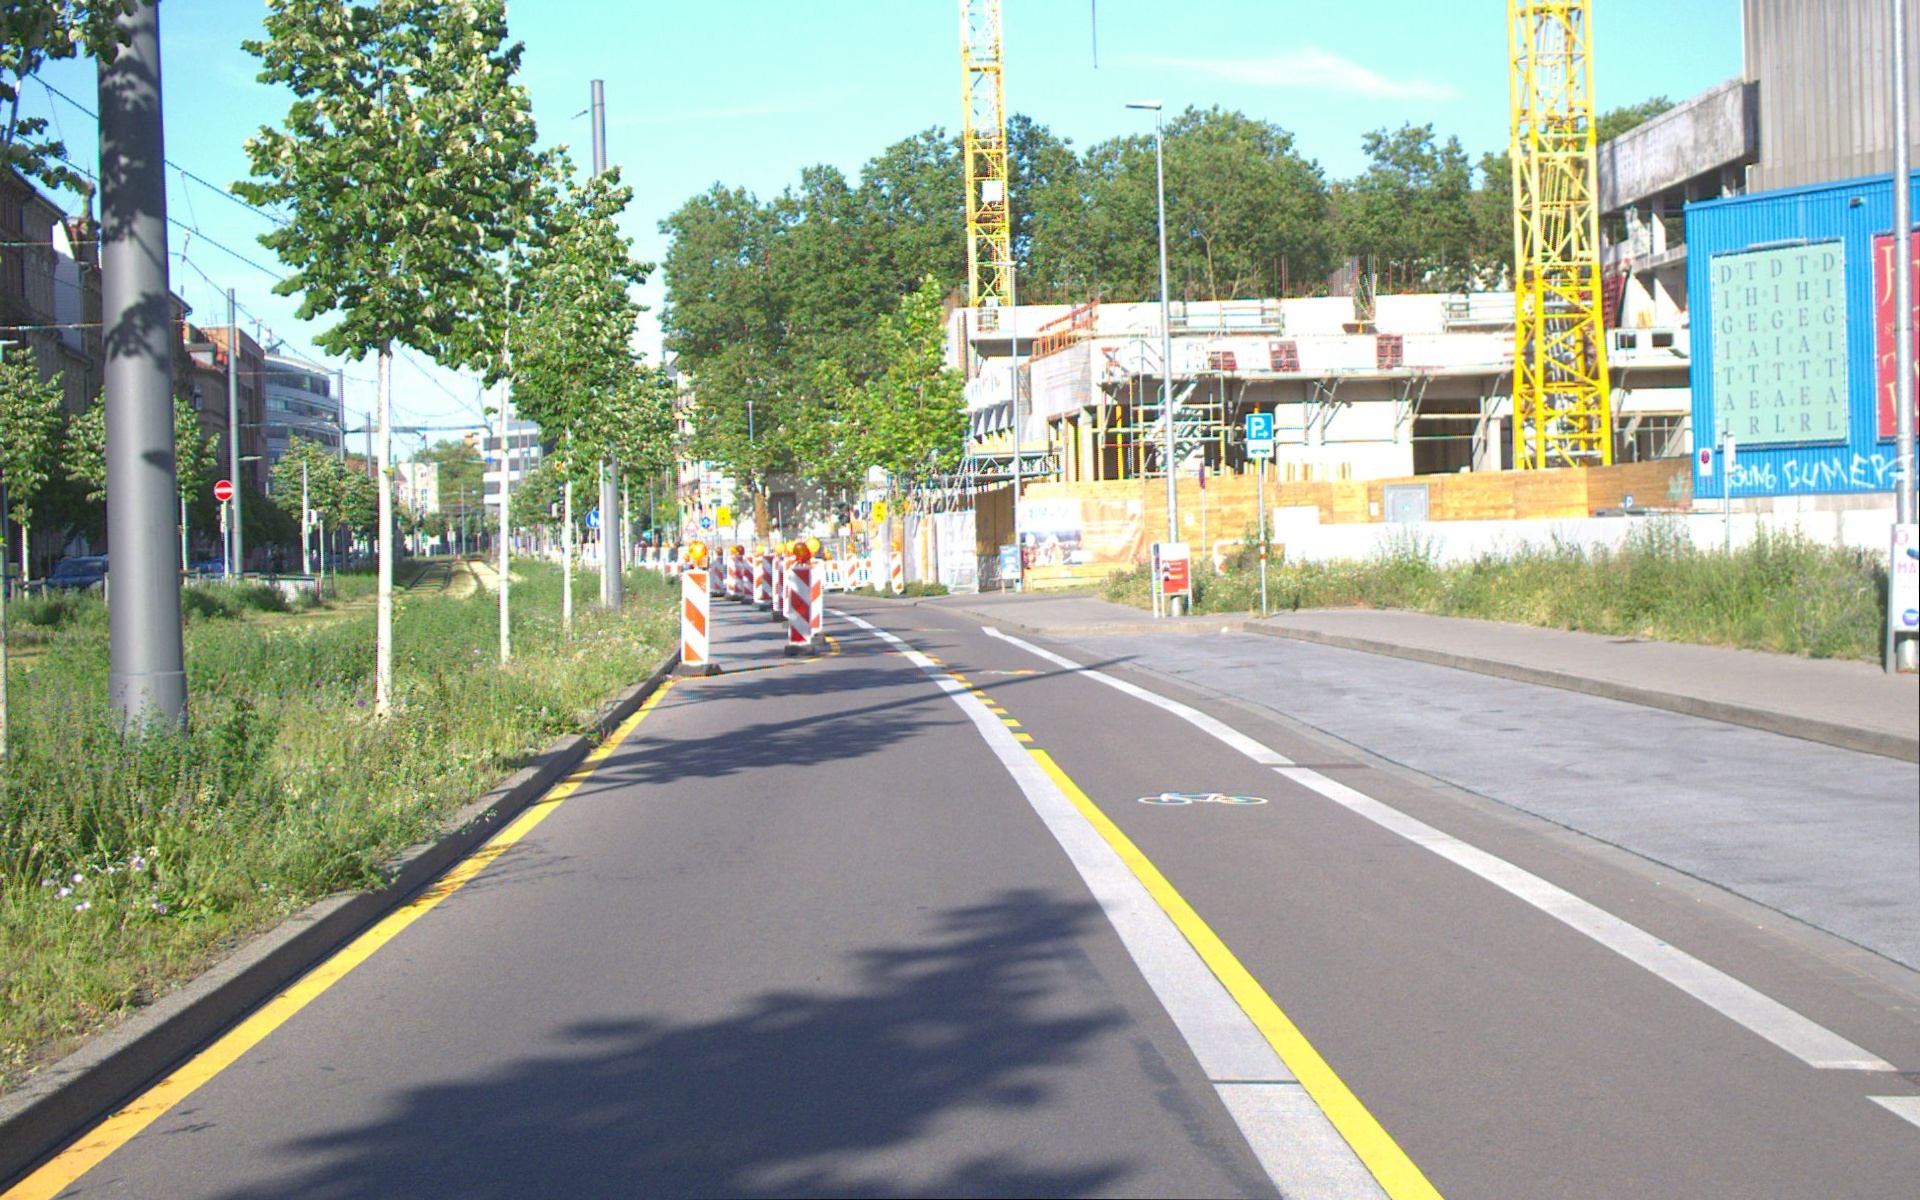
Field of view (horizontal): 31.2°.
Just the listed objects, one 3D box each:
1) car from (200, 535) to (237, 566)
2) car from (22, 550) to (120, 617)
[{"bbox_3d":[-38.250,-2.571,177.425,1.566,1.557,4.716,-2,1,-9],"label":"car"},{"bbox_3d":[-24.113,-0.470,93.381,1.728,1.740,4.122,-1,1,-2],"label":"car"}]
